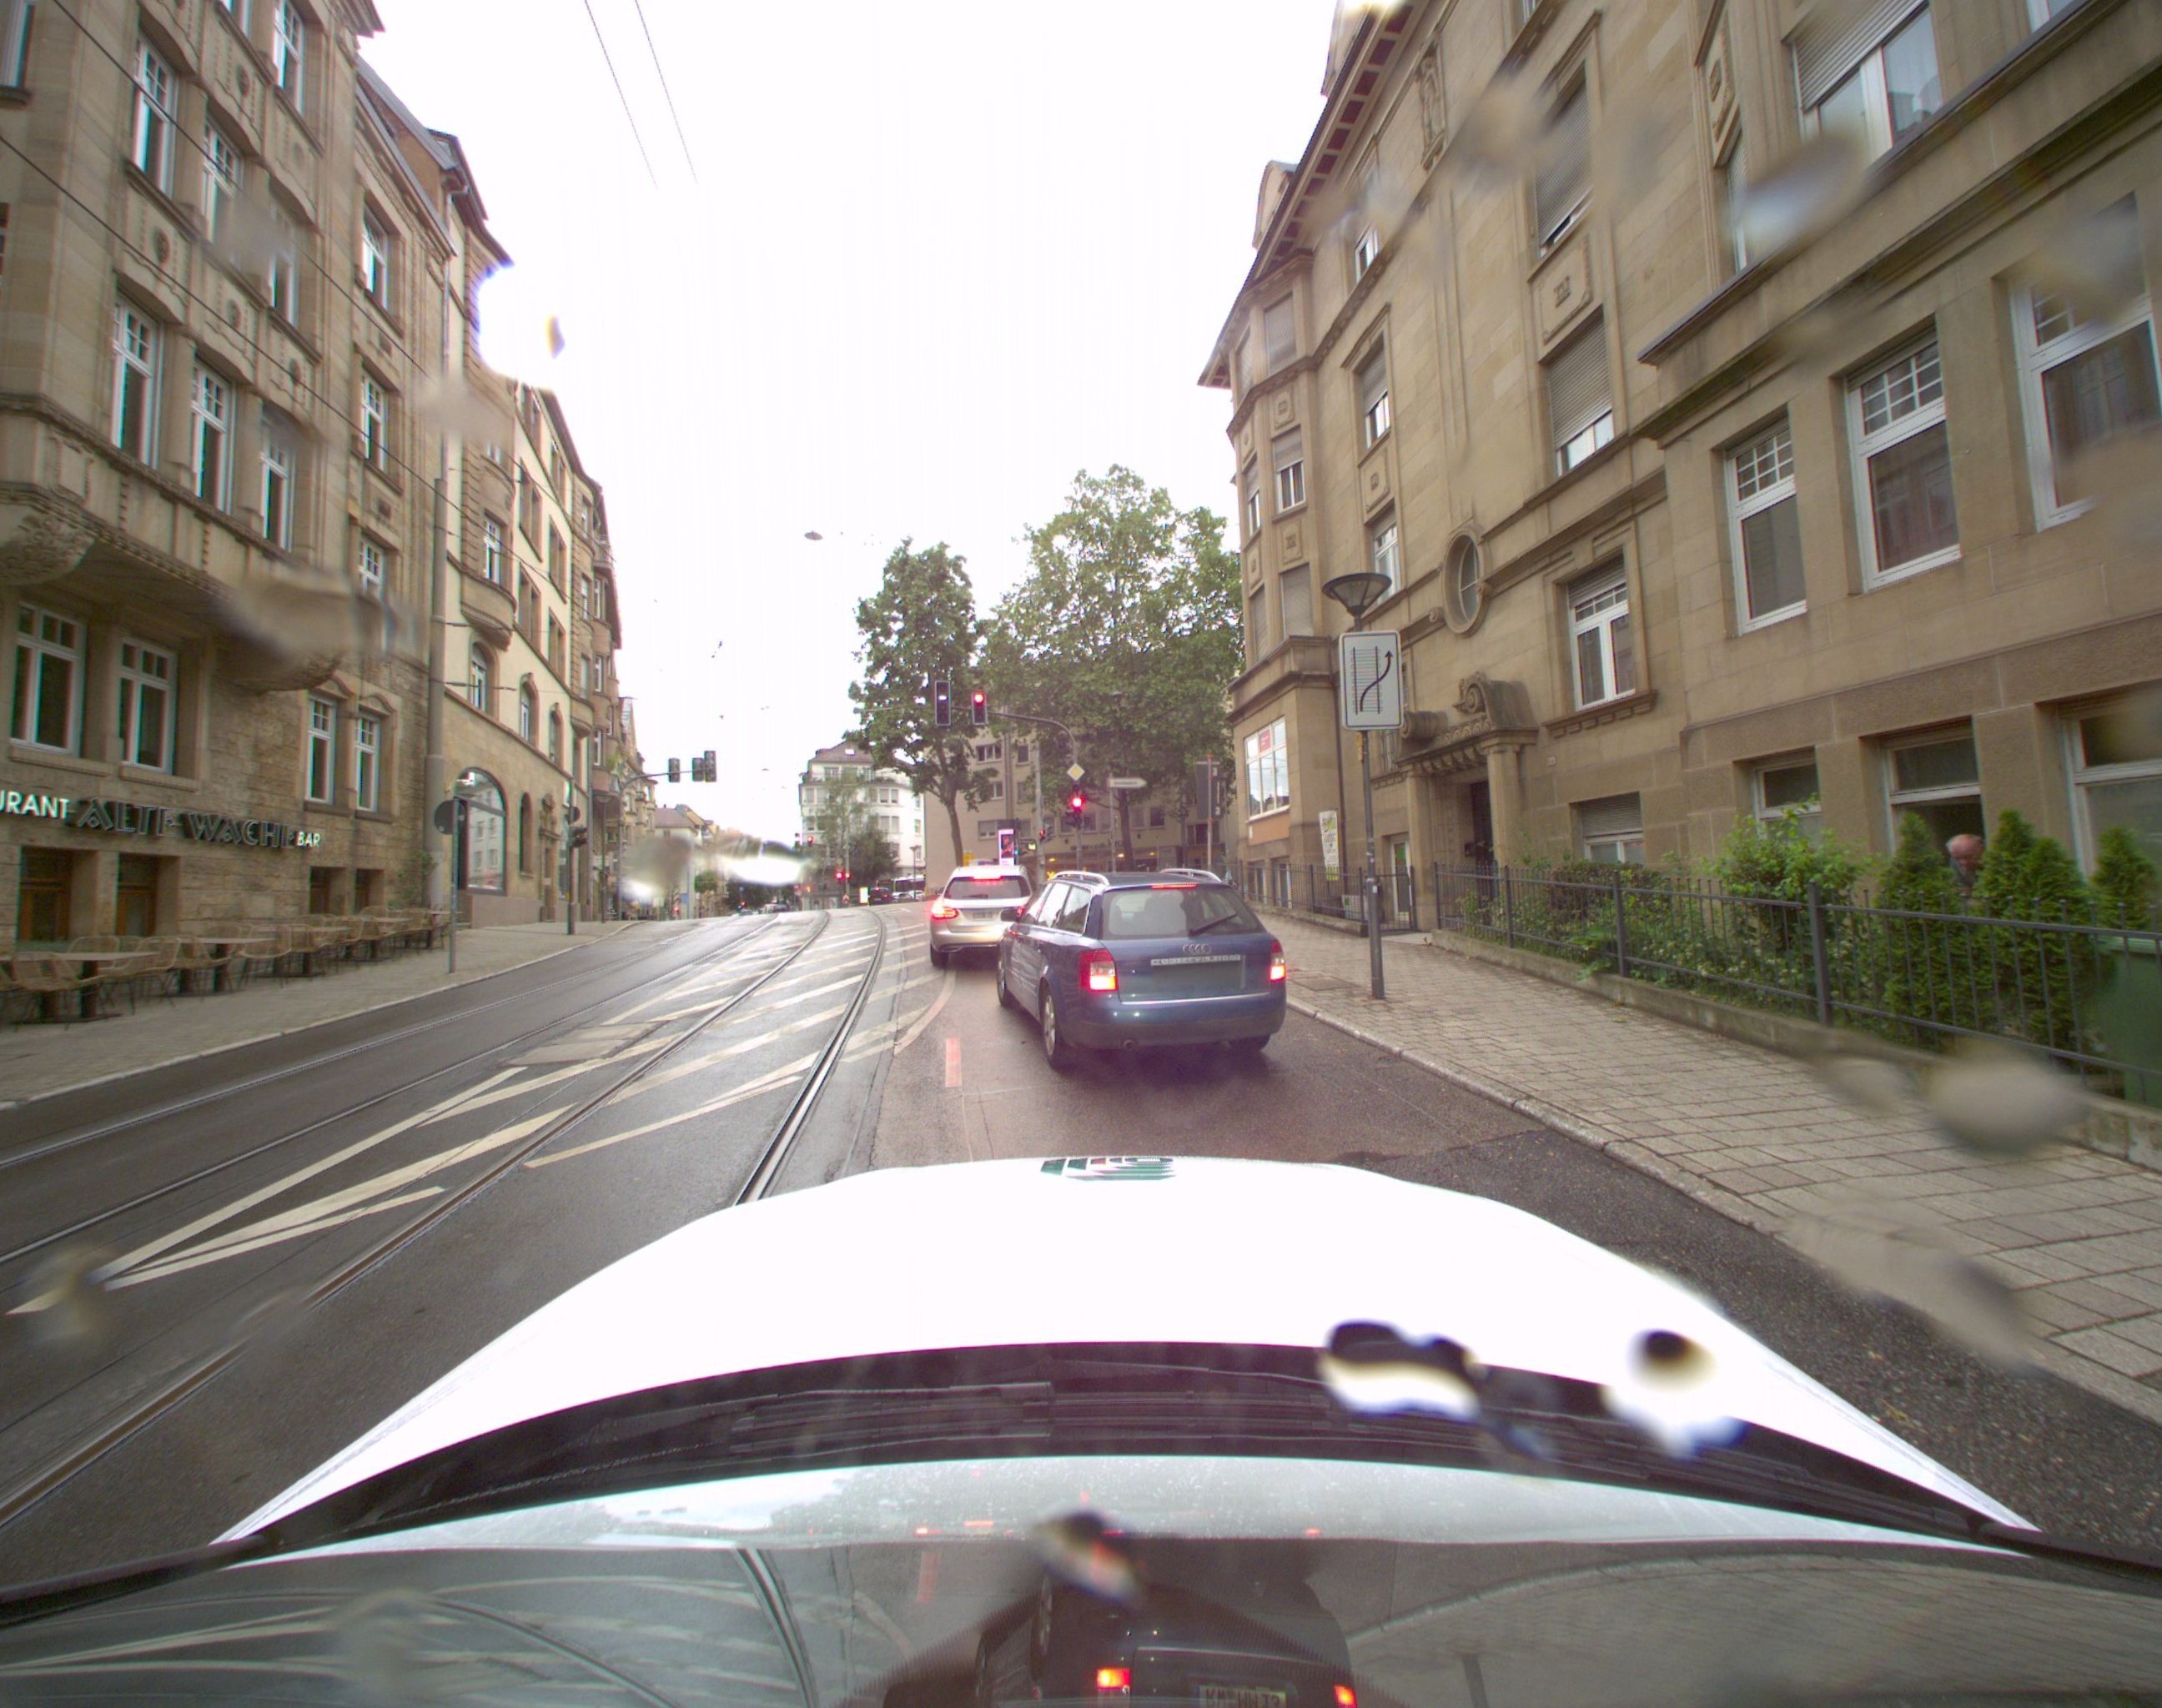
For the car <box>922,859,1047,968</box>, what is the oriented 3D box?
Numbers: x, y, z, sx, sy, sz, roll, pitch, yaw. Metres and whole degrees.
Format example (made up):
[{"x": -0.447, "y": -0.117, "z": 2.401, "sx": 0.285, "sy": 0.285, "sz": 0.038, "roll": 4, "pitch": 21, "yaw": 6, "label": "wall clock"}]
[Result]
[{"x": -1.494, "y": 0.829, "z": 13.087, "sx": 1.708, "sy": 1.456, "sz": 3.546, "roll": -1, "pitch": 0, "yaw": -5, "label": "car"}]

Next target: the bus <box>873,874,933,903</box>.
[{"x": -20.659, "y": 3.918, "z": 95.047, "sx": 2.832, "sy": 2.861, "sz": 8.771, "roll": -3, "pitch": 0, "yaw": 16, "label": "bus"}]

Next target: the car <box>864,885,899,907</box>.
[{"x": -16.723, "y": 3.475, "z": 68.495, "sx": 1.788, "sy": 1.510, "sz": 4.000, "roll": -5, "pitch": 0, "yaw": 1, "label": "car"}]

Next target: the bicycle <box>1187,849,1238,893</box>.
[{"x": 3.839, "y": 0.493, "z": 23.785, "sx": 1.300, "sy": 1.173, "sz": 0.524, "roll": -4, "pitch": 0, "yaw": -11, "label": "bicycle"}]

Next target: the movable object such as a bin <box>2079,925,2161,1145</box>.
[{"x": 5.409, "y": 0.877, "z": 3.904, "sx": 0.537, "sy": 1.026, "sz": 0.602, "roll": 2, "pitch": -2, "yaw": -10, "label": "movable object such as a bin"}]

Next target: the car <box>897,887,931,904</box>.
[{"x": -18.395, "y": 4.590, "z": 89.992, "sx": 1.779, "sy": 1.510, "sz": 4.020, "roll": -3, "pitch": 0, "yaw": 20, "label": "car"}]

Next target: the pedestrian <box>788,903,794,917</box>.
[{"x": -36.736, "y": 7.108, "z": 103.069, "sx": 0.650, "sy": 1.661, "sz": 0.646, "roll": -1, "pitch": -1, "yaw": -18, "label": "pedestrian"}]

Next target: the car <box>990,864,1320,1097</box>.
[{"x": 0.319, "y": 0.828, "z": 7.345, "sx": 1.713, "sy": 1.415, "sz": 4.016, "roll": -1, "pitch": 0, "yaw": -14, "label": "car"}]

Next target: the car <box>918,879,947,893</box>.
[{"x": -18.663, "y": 4.037, "z": 102.536, "sx": 1.779, "sy": 1.510, "sz": 4.020, "roll": -3, "pitch": 0, "yaw": 20, "label": "car"}]

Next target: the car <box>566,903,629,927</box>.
[{"x": -37.869, "y": 4.738, "z": 63.889, "sx": 4.008, "sy": 1.510, "sz": 1.785, "roll": -2, "pitch": 0, "yaw": -26, "label": "car"}]

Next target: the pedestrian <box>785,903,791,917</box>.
[{"x": -37.891, "y": 7.246, "z": 105.427, "sx": 0.650, "sy": 1.661, "sz": 0.646, "roll": -1, "pitch": -1, "yaw": -18, "label": "pedestrian"}]

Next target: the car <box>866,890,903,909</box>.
[{"x": -20.128, "y": 4.622, "z": 83.608, "sx": 1.779, "sy": 1.614, "sz": 4.020, "roll": -3, "pitch": 0, "yaw": 20, "label": "car"}]

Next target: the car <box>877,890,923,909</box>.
[{"x": -17.602, "y": 4.399, "z": 79.600, "sx": 1.777, "sy": 1.510, "sz": 4.693, "roll": -3, "pitch": 0, "yaw": 26, "label": "car"}]
